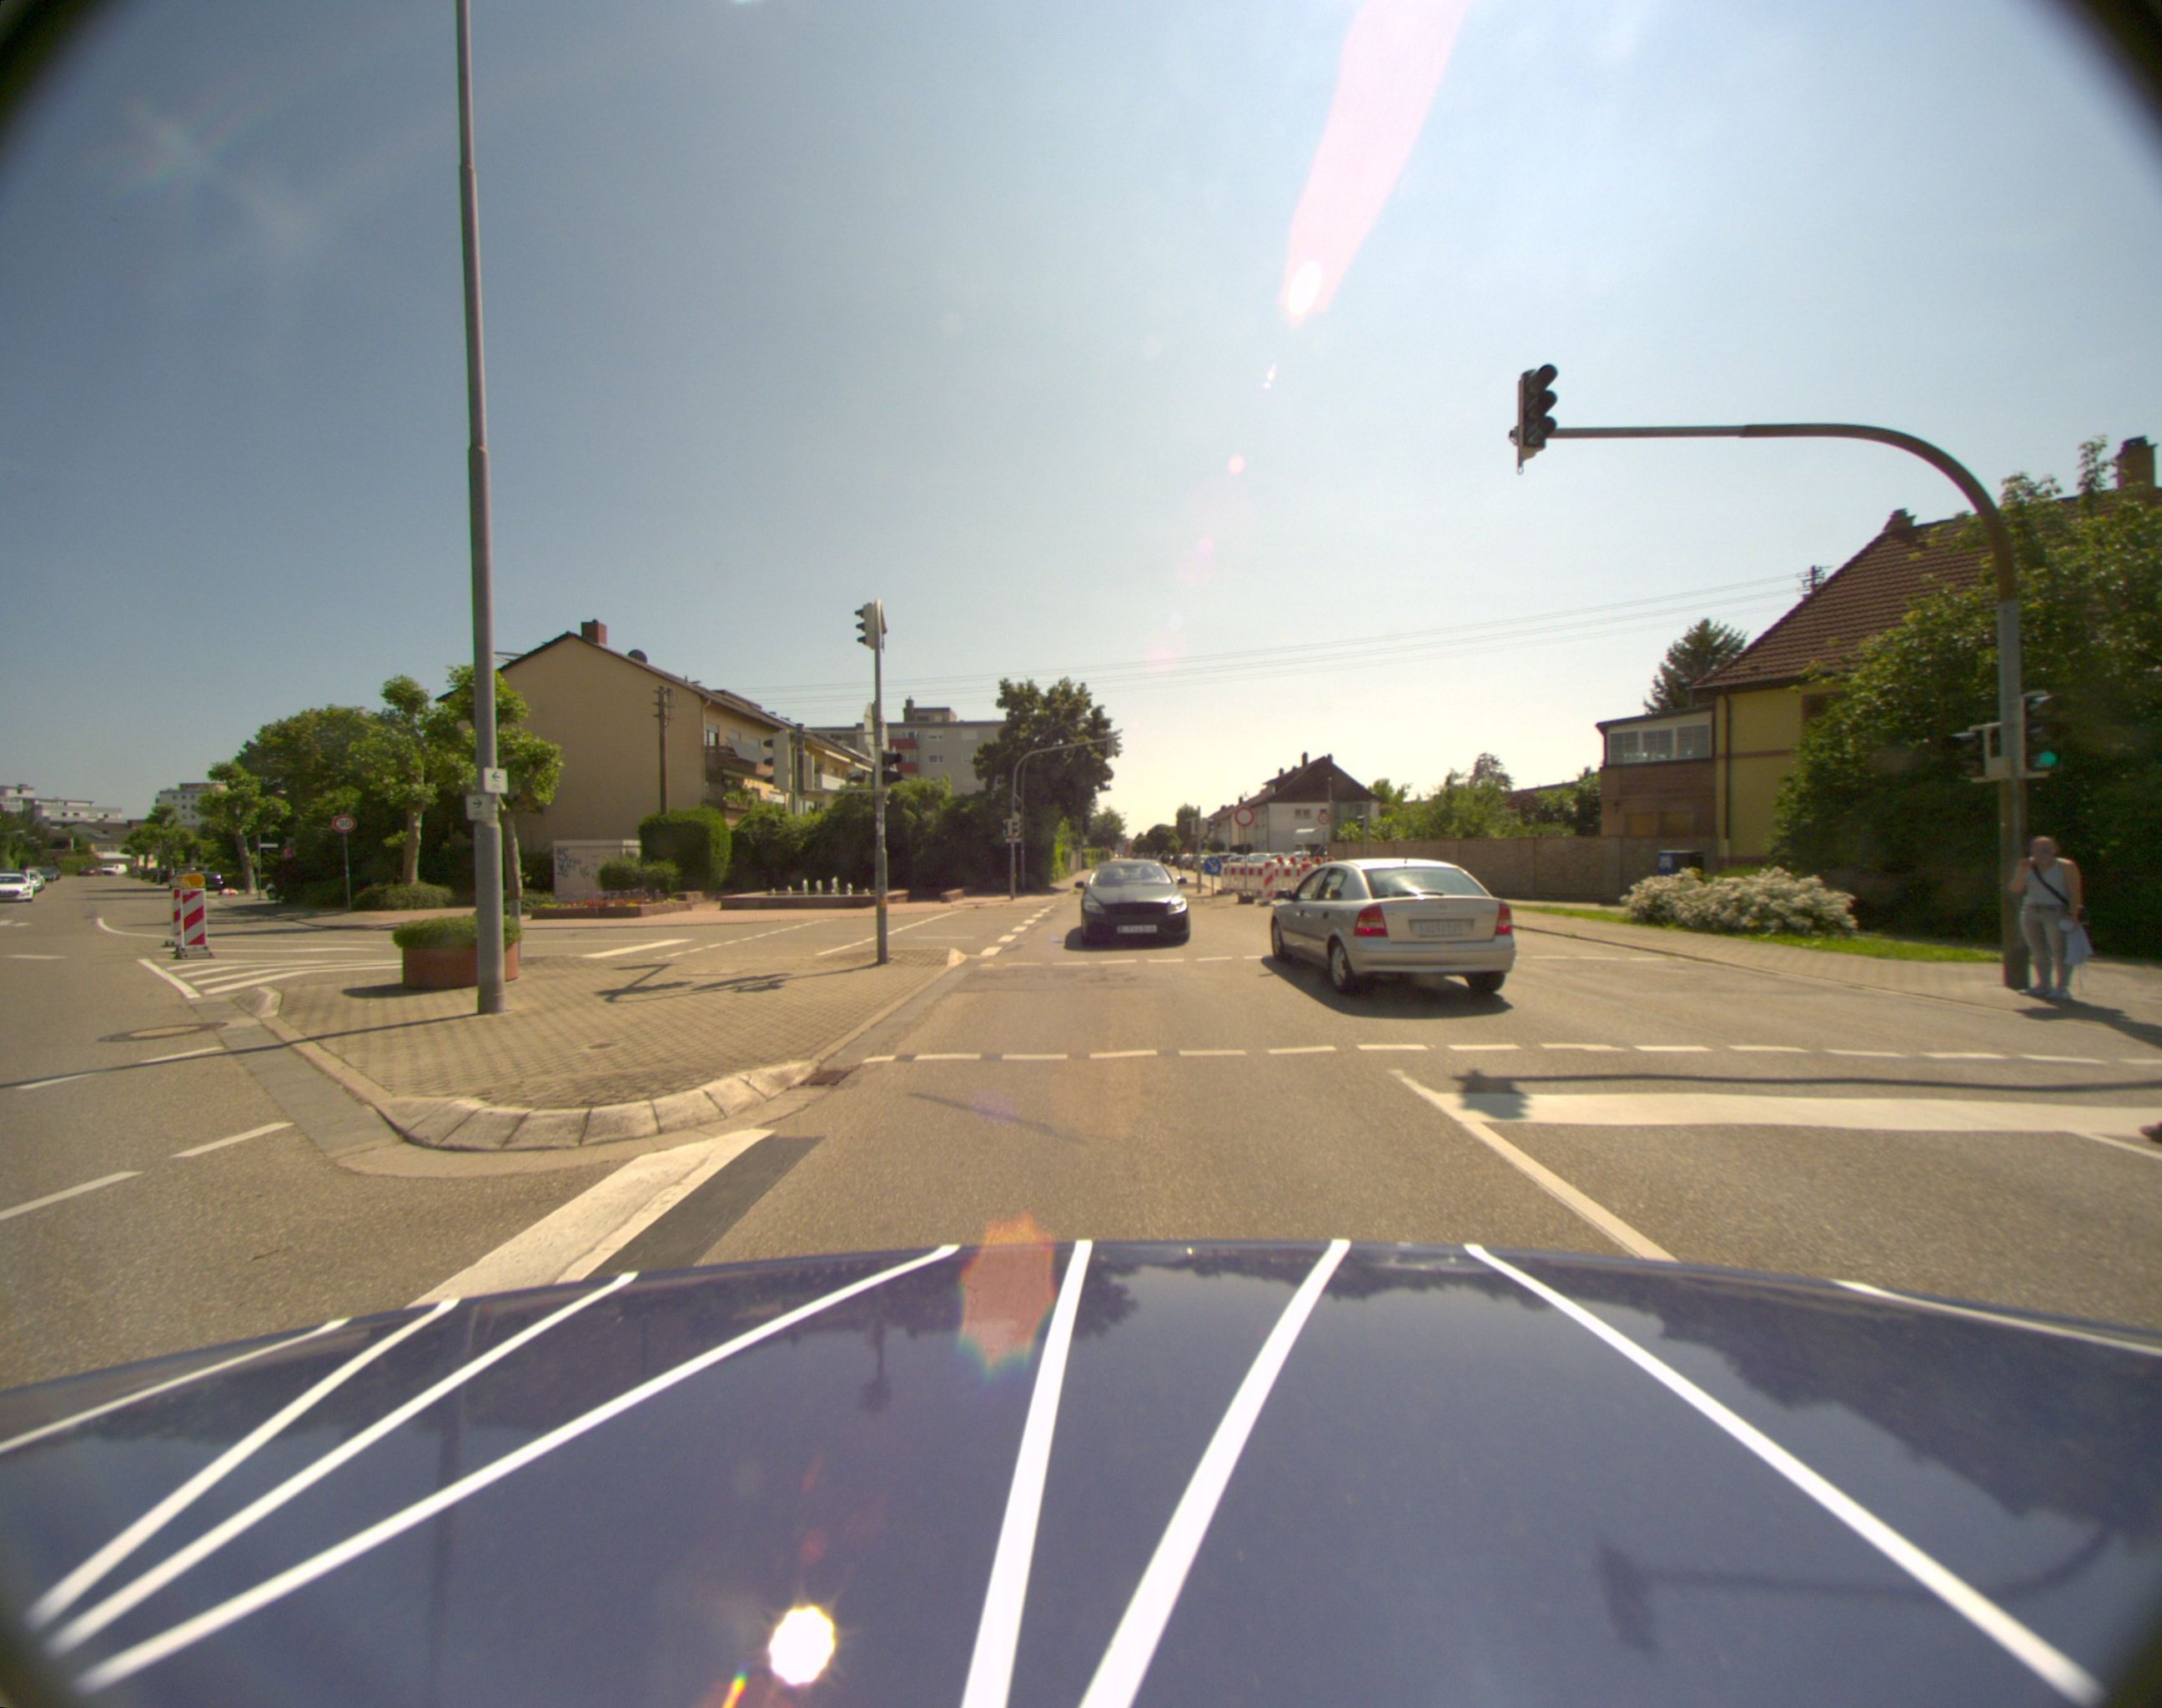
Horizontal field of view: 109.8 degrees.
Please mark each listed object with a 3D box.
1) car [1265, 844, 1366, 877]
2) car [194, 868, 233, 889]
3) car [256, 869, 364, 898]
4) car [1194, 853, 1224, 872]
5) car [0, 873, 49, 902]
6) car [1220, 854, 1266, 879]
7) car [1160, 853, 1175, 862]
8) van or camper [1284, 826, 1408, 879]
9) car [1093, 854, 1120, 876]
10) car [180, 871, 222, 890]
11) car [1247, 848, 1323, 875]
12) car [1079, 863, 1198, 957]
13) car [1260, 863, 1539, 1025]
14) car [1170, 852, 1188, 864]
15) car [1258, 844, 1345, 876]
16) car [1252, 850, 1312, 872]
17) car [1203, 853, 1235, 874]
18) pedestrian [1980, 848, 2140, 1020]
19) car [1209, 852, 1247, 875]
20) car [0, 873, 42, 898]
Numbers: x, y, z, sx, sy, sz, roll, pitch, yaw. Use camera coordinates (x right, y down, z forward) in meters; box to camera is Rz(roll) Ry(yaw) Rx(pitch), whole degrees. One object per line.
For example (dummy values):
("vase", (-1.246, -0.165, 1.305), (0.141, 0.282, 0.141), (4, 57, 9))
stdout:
("car", (14.992, 0.428, 48.701), (5.781, 1.990, 2.131), (-1, 0, -5))
("car", (-64.622, 1.796, 56.658), (3.988, 1.412, 1.719), (0, 0, 44))
("car", (-41.947, 1.589, 41.391), (3.996, 1.455, 1.945), (0, 0, 3))
("car", (11.195, 0.712, 66.857), (1.863, 1.538, 4.545), (1, 0, 0))
("car", (-55.722, 1.734, 39.552), (3.989, 1.412, 2.004), (0, 0, 31))
("car", (10.263, 0.746, 48.486), (1.952, 1.491, 4.508), (1, 0, 0))
("car", (13.178, 0.555, 116.006), (1.739, 1.409, 3.916), (-1, 0, 0))
("van or camper", (14.963, -0.097, 43.089), (6.262, 2.827, 2.289), (-1, 0, -7))
("car", (1.921, 0.784, 58.631), (1.872, 1.585, 4.616), (-1, 0, 0))
("car", (-72.569, 2.143, 62.705), (3.988, 1.412, 2.004), (0, 0, 44))
("car", (14.370, 0.504, 53.702), (4.776, 1.853, 1.999), (-1, 0, -4))
("car", (1.032, 0.945, 14.799), (1.889, 1.429, 4.839), (-2, 0, 2))
("car", (3.438, 0.866, 9.063), (1.703, 1.395, 3.979), (-1, 1, 1))
("car", (12.459, 0.506, 96.336), (1.739, 1.504, 3.916), (-1, 0, 0))
("car", (14.831, 0.388, 51.232), (5.179, 2.075, 2.211), (-1, 0, -5))
("car", (15.223, 0.492, 57.685), (3.998, 1.607, 1.768), (-1, 0, -4))
("car", (10.785, 0.698, 59.686), (1.862, 1.538, 4.177), (1, 0, 1))
("pedestrian", (9.682, 0.759, 7.543), (0.615, 1.598, 0.688), (-4, 0, 2))
("car", (10.520, 0.672, 54.503), (1.863, 1.581, 4.228), (1, 0, 0))
("car", (-64.985, 1.864, 46.048), (3.989, 1.412, 2.004), (0, 0, 31))
